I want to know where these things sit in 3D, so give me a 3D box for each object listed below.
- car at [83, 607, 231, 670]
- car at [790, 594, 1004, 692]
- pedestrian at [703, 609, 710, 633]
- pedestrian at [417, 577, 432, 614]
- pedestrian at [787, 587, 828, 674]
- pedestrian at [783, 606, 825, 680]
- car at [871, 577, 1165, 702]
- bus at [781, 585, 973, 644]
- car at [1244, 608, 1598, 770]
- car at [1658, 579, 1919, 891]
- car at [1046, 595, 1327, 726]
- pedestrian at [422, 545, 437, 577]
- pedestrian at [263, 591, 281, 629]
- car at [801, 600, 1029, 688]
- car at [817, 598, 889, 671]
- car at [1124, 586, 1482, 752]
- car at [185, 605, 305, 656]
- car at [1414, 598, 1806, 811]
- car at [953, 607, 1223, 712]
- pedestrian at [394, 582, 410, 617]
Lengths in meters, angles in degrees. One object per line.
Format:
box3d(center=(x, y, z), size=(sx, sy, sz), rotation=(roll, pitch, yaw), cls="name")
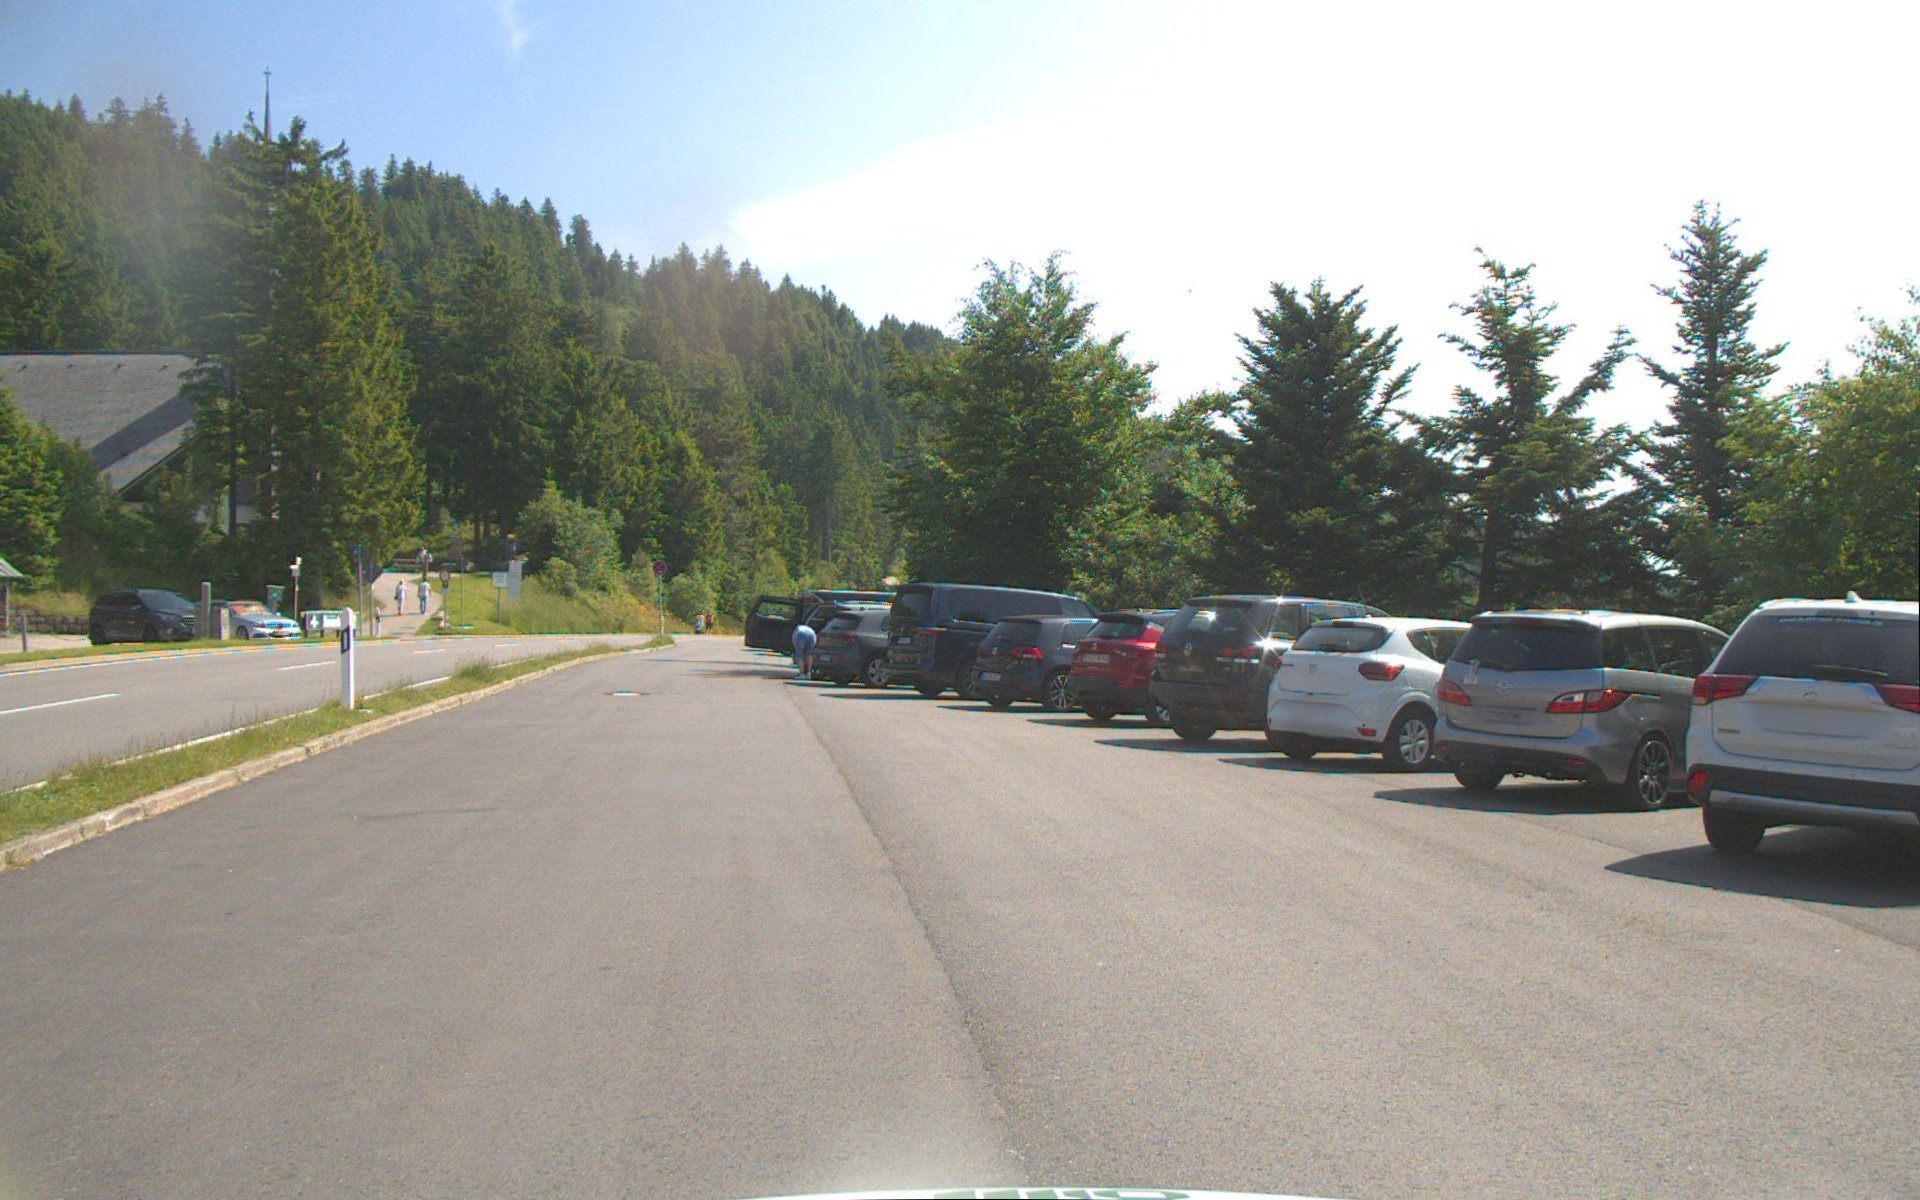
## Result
box3d(center=(-22.132, 1.037, 45.547), size=(4.122, 1.662, 1.784), rotation=(0, -1, 33), cls="car")
box3d(center=(-1.285, 0.900, 34.516), size=(3.953, 1.691, 1.976), rotation=(6, -3, -35), cls="car")
box3d(center=(-18.811, 1.573, 122.777), size=(0.386, 1.778, 0.406), rotation=(1, 0, 3), cls="pedestrian")
box3d(center=(-26.617, -0.229, 82.161), size=(0.641, 1.830, 0.641), rotation=(0, 0, -14), cls="pedestrian")
box3d(center=(-3.234, 0.646, 35.042), size=(0.572, 1.791, 0.628), rotation=(4, -2, -27), cls="pedestrian")
box3d(center=(-3.092, 0.841, 32.812), size=(0.758, 1.427, 0.669), rotation=(-1, 1, -1), cls="pedestrian")
box3d(center=(1.027, 0.692, 28.731), size=(4.699, 1.913, 1.950), rotation=(3, -1, -27), cls="car")
box3d(center=(-5.570, 0.922, 111.877), size=(12.586, 3.640, 2.985), rotation=(1, 1, 9), cls="bus")
box3d(center=(4.982, 0.930, 17.616), size=(3.964, 1.502, 1.741), rotation=(3, -2, -41), cls="car")
box3d(center=(6.513, 0.817, 11.189), size=(1.833, 1.724, 4.195), rotation=(2, 0, 45), cls="car")
box3d(center=(3.236, 0.848, 23.150), size=(1.833, 1.617, 3.970), rotation=(2, -1, 45), cls="car")
box3d(center=(-34.341, -2.534, 107.082), size=(0.802, 2.048, 0.850), rotation=(-1, 1, -16), cls="pedestrian")
box3d(center=(-29.293, 0.424, 70.438), size=(0.566, 1.559, 0.552), rotation=(-1, 1, -7), cls="pedestrian")
box3d(center=(-0.851, 0.851, 31.738), size=(3.942, 1.468, 1.823), rotation=(3, -1, -29), cls="car")
box3d(center=(-3.381, 1.038, 51.354), size=(1.869, 2.006, 4.812), rotation=(5, -1, -7), cls="car")
box3d(center=(4.163, 0.820, 19.756), size=(4.233, 1.724, 1.962), rotation=(3, -1, -40), cls="car")
box3d(center=(-22.490, 0.941, 51.994), size=(3.891, 1.466, 1.737), rotation=(-1, 1, 37), cls="car")
box3d(center=(5.880, 0.880, 14.729), size=(1.791, 1.576, 3.970), rotation=(2, -1, 45), cls="car")
box3d(center=(2.021, 0.937, 25.610), size=(3.953, 1.439, 1.724), rotation=(3, -1, -35), cls="car")
box3d(center=(-27.525, -0.011, 81.583), size=(0.641, 1.696, 0.641), rotation=(0, -2, -14), cls="pedestrian")
